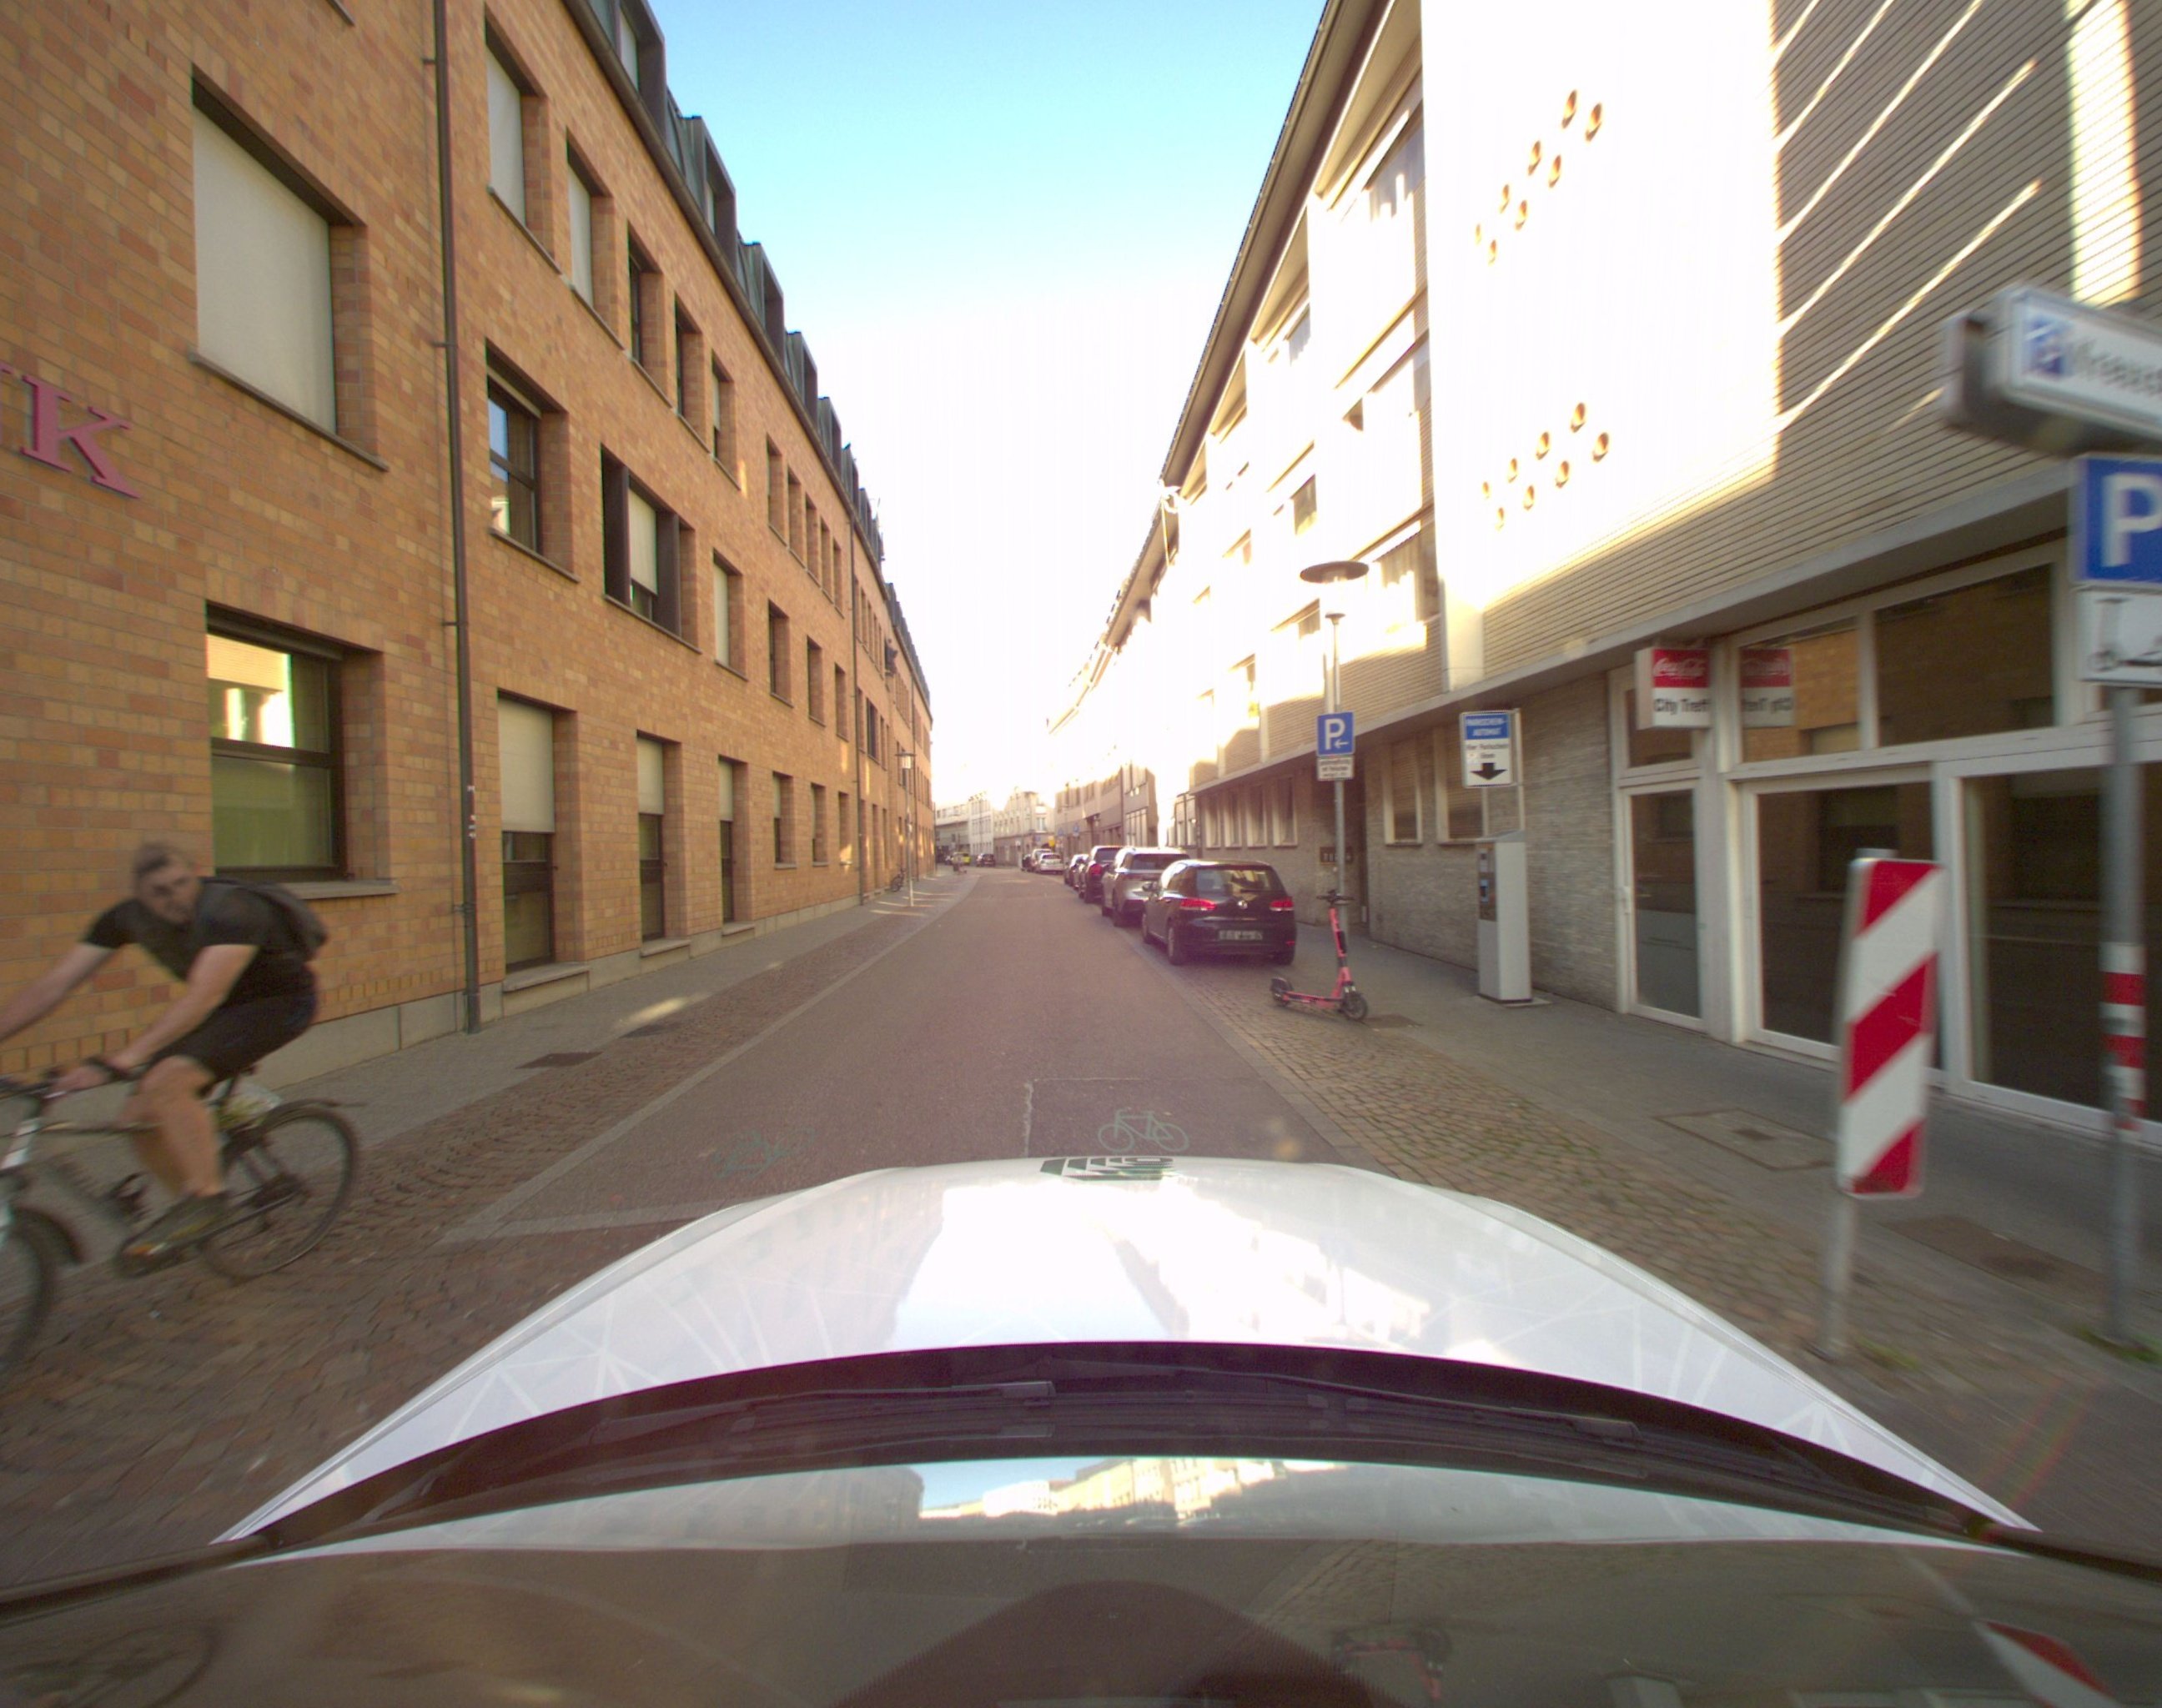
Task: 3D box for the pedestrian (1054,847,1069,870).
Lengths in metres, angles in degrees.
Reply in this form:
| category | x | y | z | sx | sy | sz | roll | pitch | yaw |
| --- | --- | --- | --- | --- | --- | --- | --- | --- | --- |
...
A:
| category | x | y | z | sx | sy | sz | roll | pitch | yaw |
| --- | --- | --- | --- | --- | --- | --- | --- | --- | --- |
| pedestrian | -1.587 | 0.325 | 65.025 | 1.042 | 1.801 | 1.195 | -1 | -1 | -9 |

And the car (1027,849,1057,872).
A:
| category | x | y | z | sx | sy | sz | roll | pitch | yaw |
| --- | --- | --- | --- | --- | --- | --- | --- | --- | --- |
| car | -3.171 | 0.511 | 64.876 | 1.830 | 1.791 | 5.197 | 0 | 0 | -9 |

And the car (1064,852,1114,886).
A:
| category | x | y | z | sx | sy | sz | roll | pitch | yaw |
| --- | --- | --- | --- | --- | --- | --- | --- | --- | --- |
| car | 0.292 | 0.641 | 37.748 | 1.891 | 1.453 | 5.216 | 0 | 0 | -5 |

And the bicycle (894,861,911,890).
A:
| category | x | y | z | sx | sy | sz | roll | pitch | yaw |
| --- | --- | --- | --- | --- | --- | --- | --- | --- | --- |
| bicycle | -7.684 | 0.911 | 35.018 | 0.632 | 1.162 | 1.796 | 2 | 0 | -13 |

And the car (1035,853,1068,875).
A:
| category | x | y | z | sx | sy | sz | roll | pitch | yaw |
| --- | --- | --- | --- | --- | --- | --- | --- | --- | --- |
| car | -2.170 | 0.673 | 58.669 | 1.840 | 1.478 | 4.154 | 1 | 0 | -9 |

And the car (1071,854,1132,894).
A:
| category | x | y | z | sx | sy | sz | roll | pitch | yaw |
| --- | --- | --- | --- | --- | --- | --- | --- | --- | --- |
| car | 0.708 | 0.712 | 31.736 | 1.804 | 1.412 | 4.781 | 1 | 0 | -5 |

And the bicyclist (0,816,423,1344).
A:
| category | x | y | z | sx | sy | sz | roll | pitch | yaw |
| --- | --- | --- | --- | --- | --- | --- | --- | --- | --- |
| bicyclist | -3.250 | 0.724 | 3.055 | 0.659 | 1.642 | 0.926 | -5 | 0 | 3 |

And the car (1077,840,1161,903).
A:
| category | x | y | z | sx | sy | sz | roll | pitch | yaw |
| --- | --- | --- | --- | --- | --- | --- | --- | --- | --- |
| car | 1.066 | 0.481 | 25.571 | 2.099 | 1.786 | 5.045 | 0 | 0 | -3 |

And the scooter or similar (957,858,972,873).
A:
| category | x | y | z | sx | sy | sz | roll | pitch | yaw |
| --- | --- | --- | --- | --- | --- | --- | --- | --- | --- |
| scooter or similar | -9.716 | 0.929 | 68.058 | 0.692 | 1.217 | 1.363 | -2 | 0 | 18 |

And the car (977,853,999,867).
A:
| category | x | y | z | sx | sy | sz | roll | pitch | yaw |
| --- | --- | --- | --- | --- | --- | --- | --- | --- | --- |
| car | -11.459 | 0.714 | 99.828 | 1.972 | 1.692 | 4.078 | 0 | 0 | -17 |

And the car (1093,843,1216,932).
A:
| category | x | y | z | sx | sy | sz | roll | pitch | yaw |
| --- | --- | --- | --- | --- | --- | --- | --- | --- | --- |
| car | 1.469 | 0.649 | 18.187 | 1.990 | 1.702 | 4.836 | 1 | 0 | -4 |

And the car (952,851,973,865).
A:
| category | x | y | z | sx | sy | sz | roll | pitch | yaw |
| --- | --- | --- | --- | --- | --- | --- | --- | --- | --- |
| car | -16.775 | 0.562 | 115.493 | 2.060 | 2.013 | 4.145 | -1 | 0 | -21 |

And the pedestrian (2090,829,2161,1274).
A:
| category | x | y | z | sx | sy | sz | roll | pitch | yaw |
| --- | --- | --- | --- | --- | --- | --- | --- | --- | --- |
| pedestrian | 3.991 | 0.678 | 2.728 | 0.569 | 1.540 | 0.442 | -4 | 0 | 4 |

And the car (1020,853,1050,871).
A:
| category | x | y | z | sx | sy | sz | roll | pitch | yaw |
| --- | --- | --- | --- | --- | --- | --- | --- | --- | --- |
| car | -4.020 | 0.700 | 70.743 | 1.891 | 1.518 | 4.044 | -1 | 0 | -14 |

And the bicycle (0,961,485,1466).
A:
| category | x | y | z | sx | sy | sz | roll | pitch | yaw |
| --- | --- | --- | --- | --- | --- | --- | --- | --- | --- |
| bicycle | -3.220 | 1.102 | 2.965 | 0.648 | 1.131 | 1.737 | -5 | 0 | 3 |

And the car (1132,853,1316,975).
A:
| category | x | y | z | sx | sy | sz | roll | pitch | yaw |
| --- | --- | --- | --- | --- | --- | --- | --- | --- | --- |
| car | 1.995 | 0.774 | 12.803 | 1.819 | 1.504 | 4.594 | 1 | 0 | -3 |

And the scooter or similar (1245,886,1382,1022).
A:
| category | x | y | z | sx | sy | sz | roll | pitch | yaw |
| --- | --- | --- | --- | --- | --- | --- | --- | --- | --- |
| scooter or similar | 2.282 | 0.940 | 8.124 | 0.496 | 1.194 | 1.293 | -1 | 0 | -32 |

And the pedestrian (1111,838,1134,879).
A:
| category | x | y | z | sx | sy | sz | roll | pitch | yaw |
| --- | --- | --- | --- | --- | --- | --- | --- | --- | --- |
| pedestrian | 1.791 | 0.188 | 35.250 | 0.787 | 1.721 | 0.745 | -3 | 0 | -5 |
